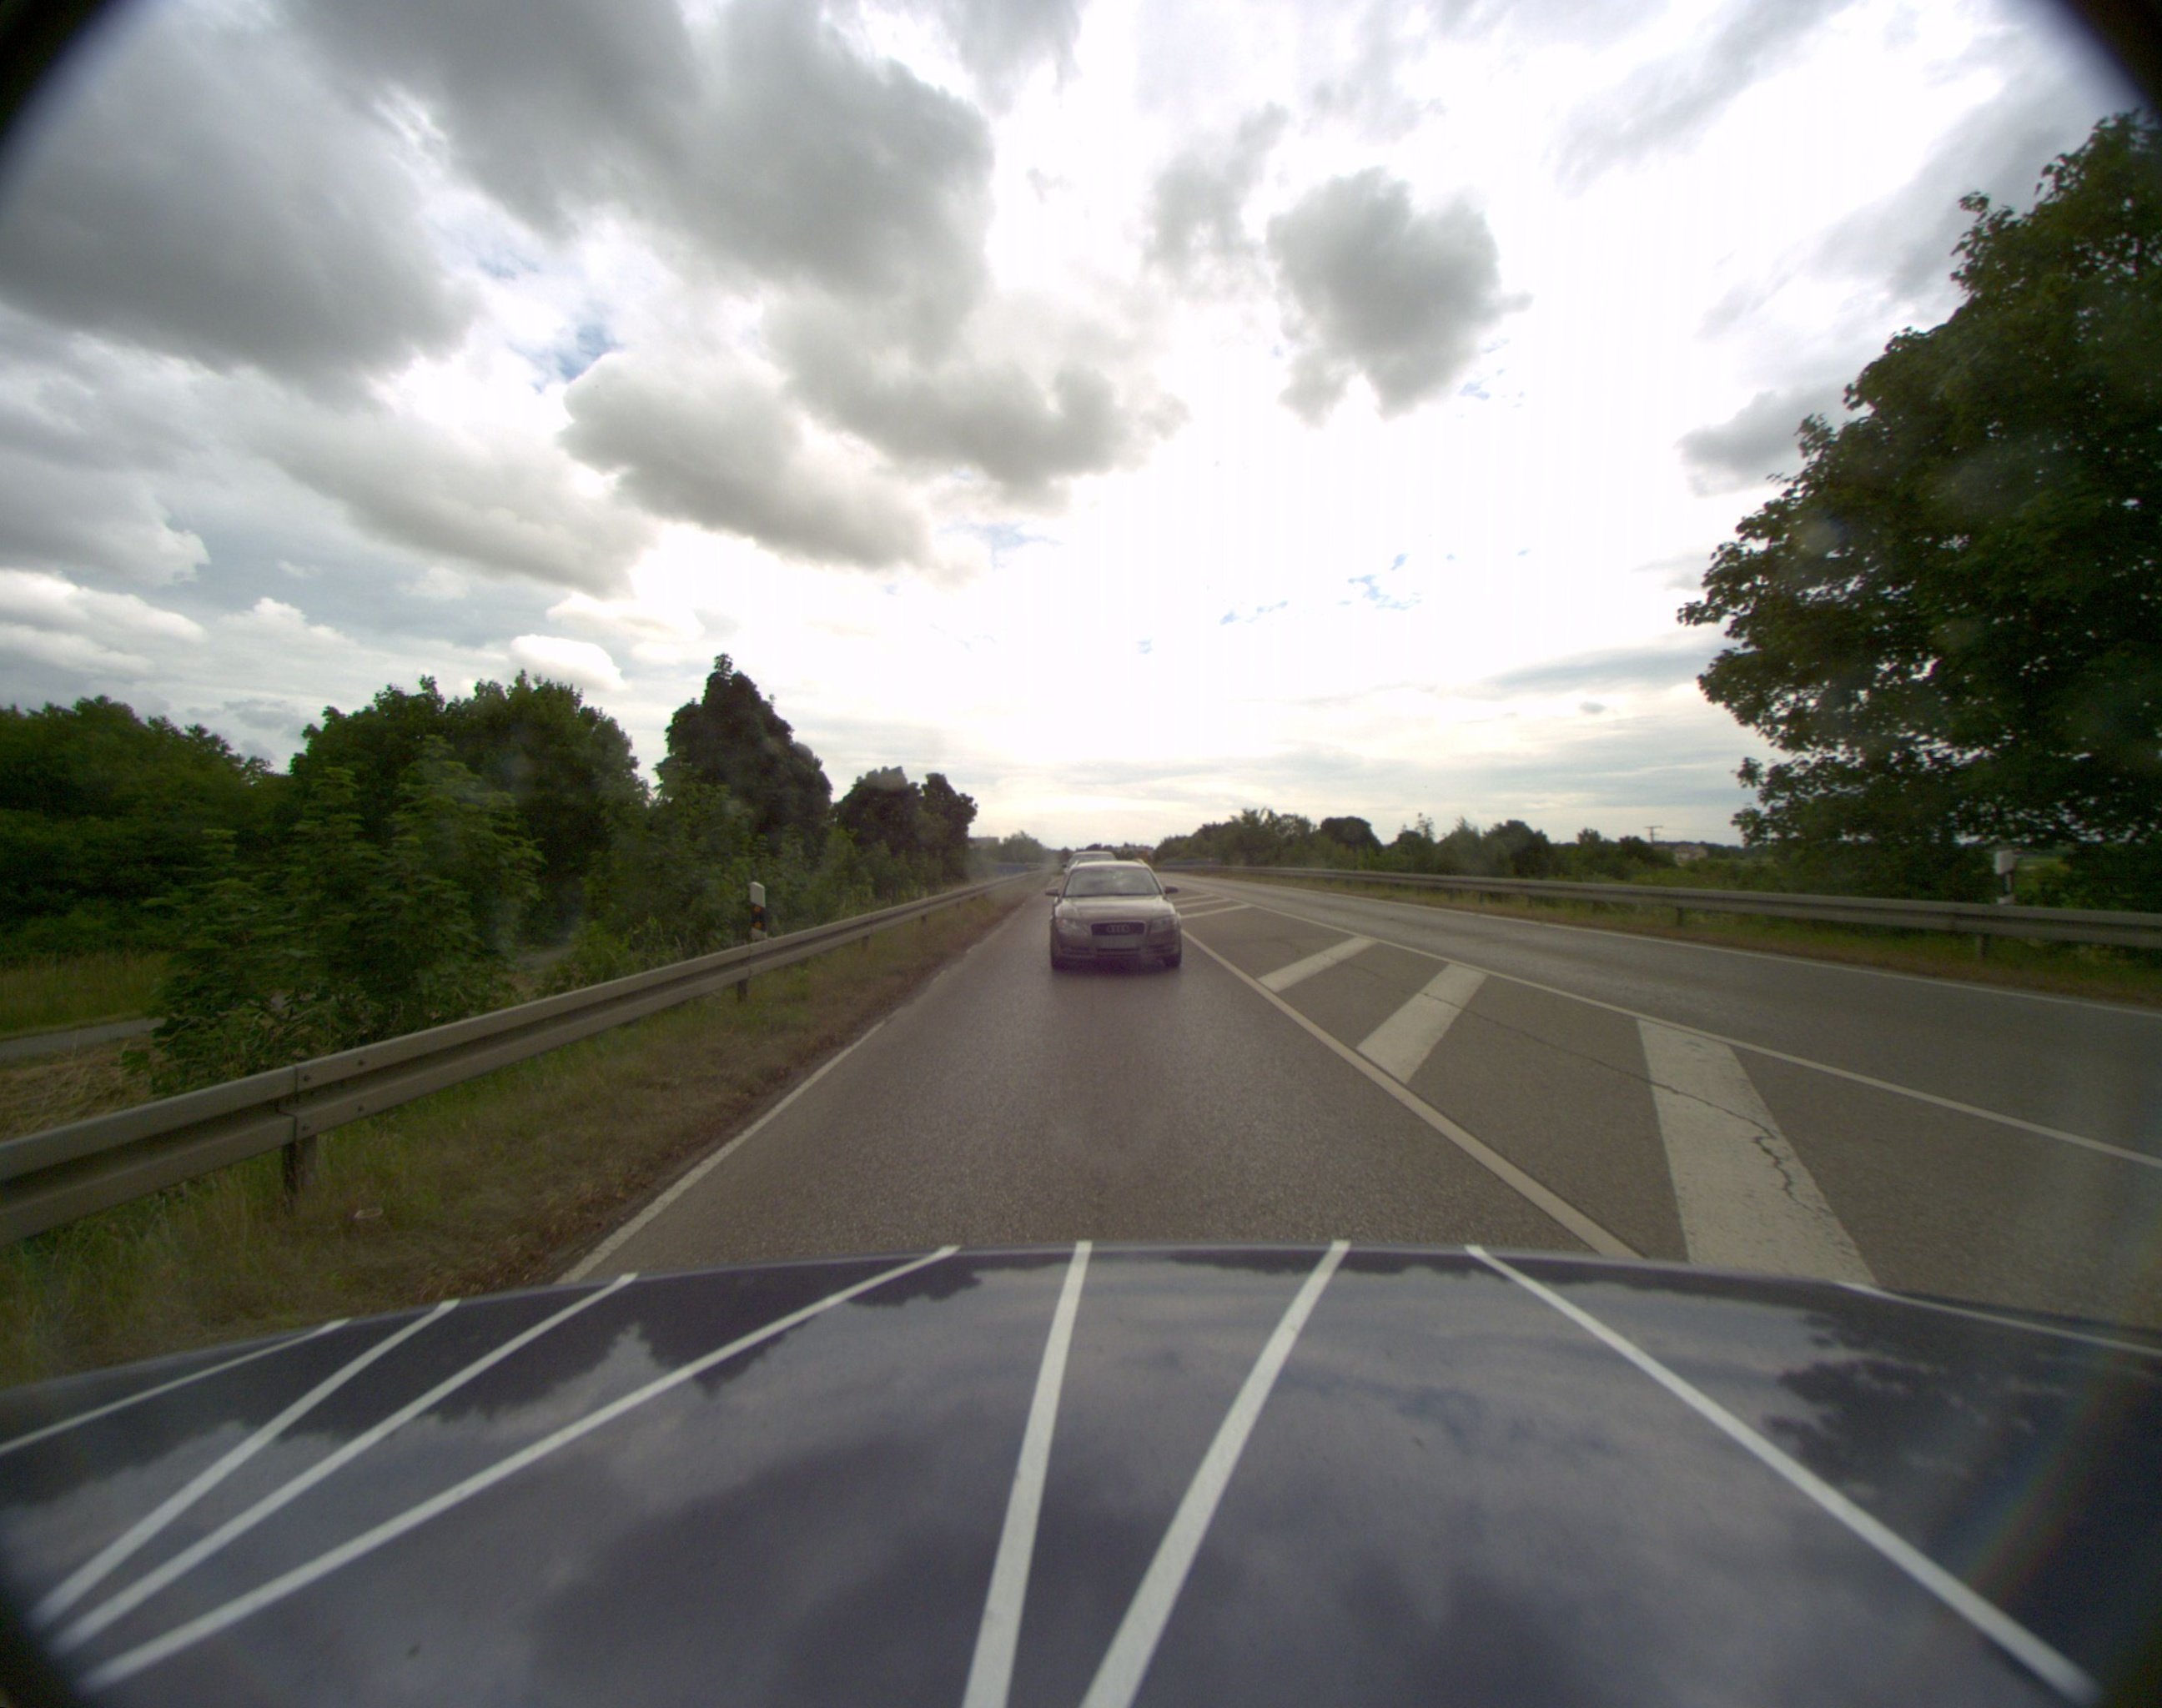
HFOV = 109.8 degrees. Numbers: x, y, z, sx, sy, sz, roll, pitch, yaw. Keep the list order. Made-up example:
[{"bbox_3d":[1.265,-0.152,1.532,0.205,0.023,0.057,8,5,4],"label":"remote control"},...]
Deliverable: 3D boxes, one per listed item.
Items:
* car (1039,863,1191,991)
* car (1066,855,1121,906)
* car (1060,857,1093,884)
[{"bbox_3d":[0.386,0.896,10.991,1.768,1.383,3.876,-2,1,-1],"label":"car"},{"bbox_3d":[0.388,0.802,24.877,1.603,1.494,3.962,-2,0,1],"label":"car"},{"bbox_3d":[-0.239,0.869,41.640,1.670,1.339,4.000,-2,0,0],"label":"car"}]
